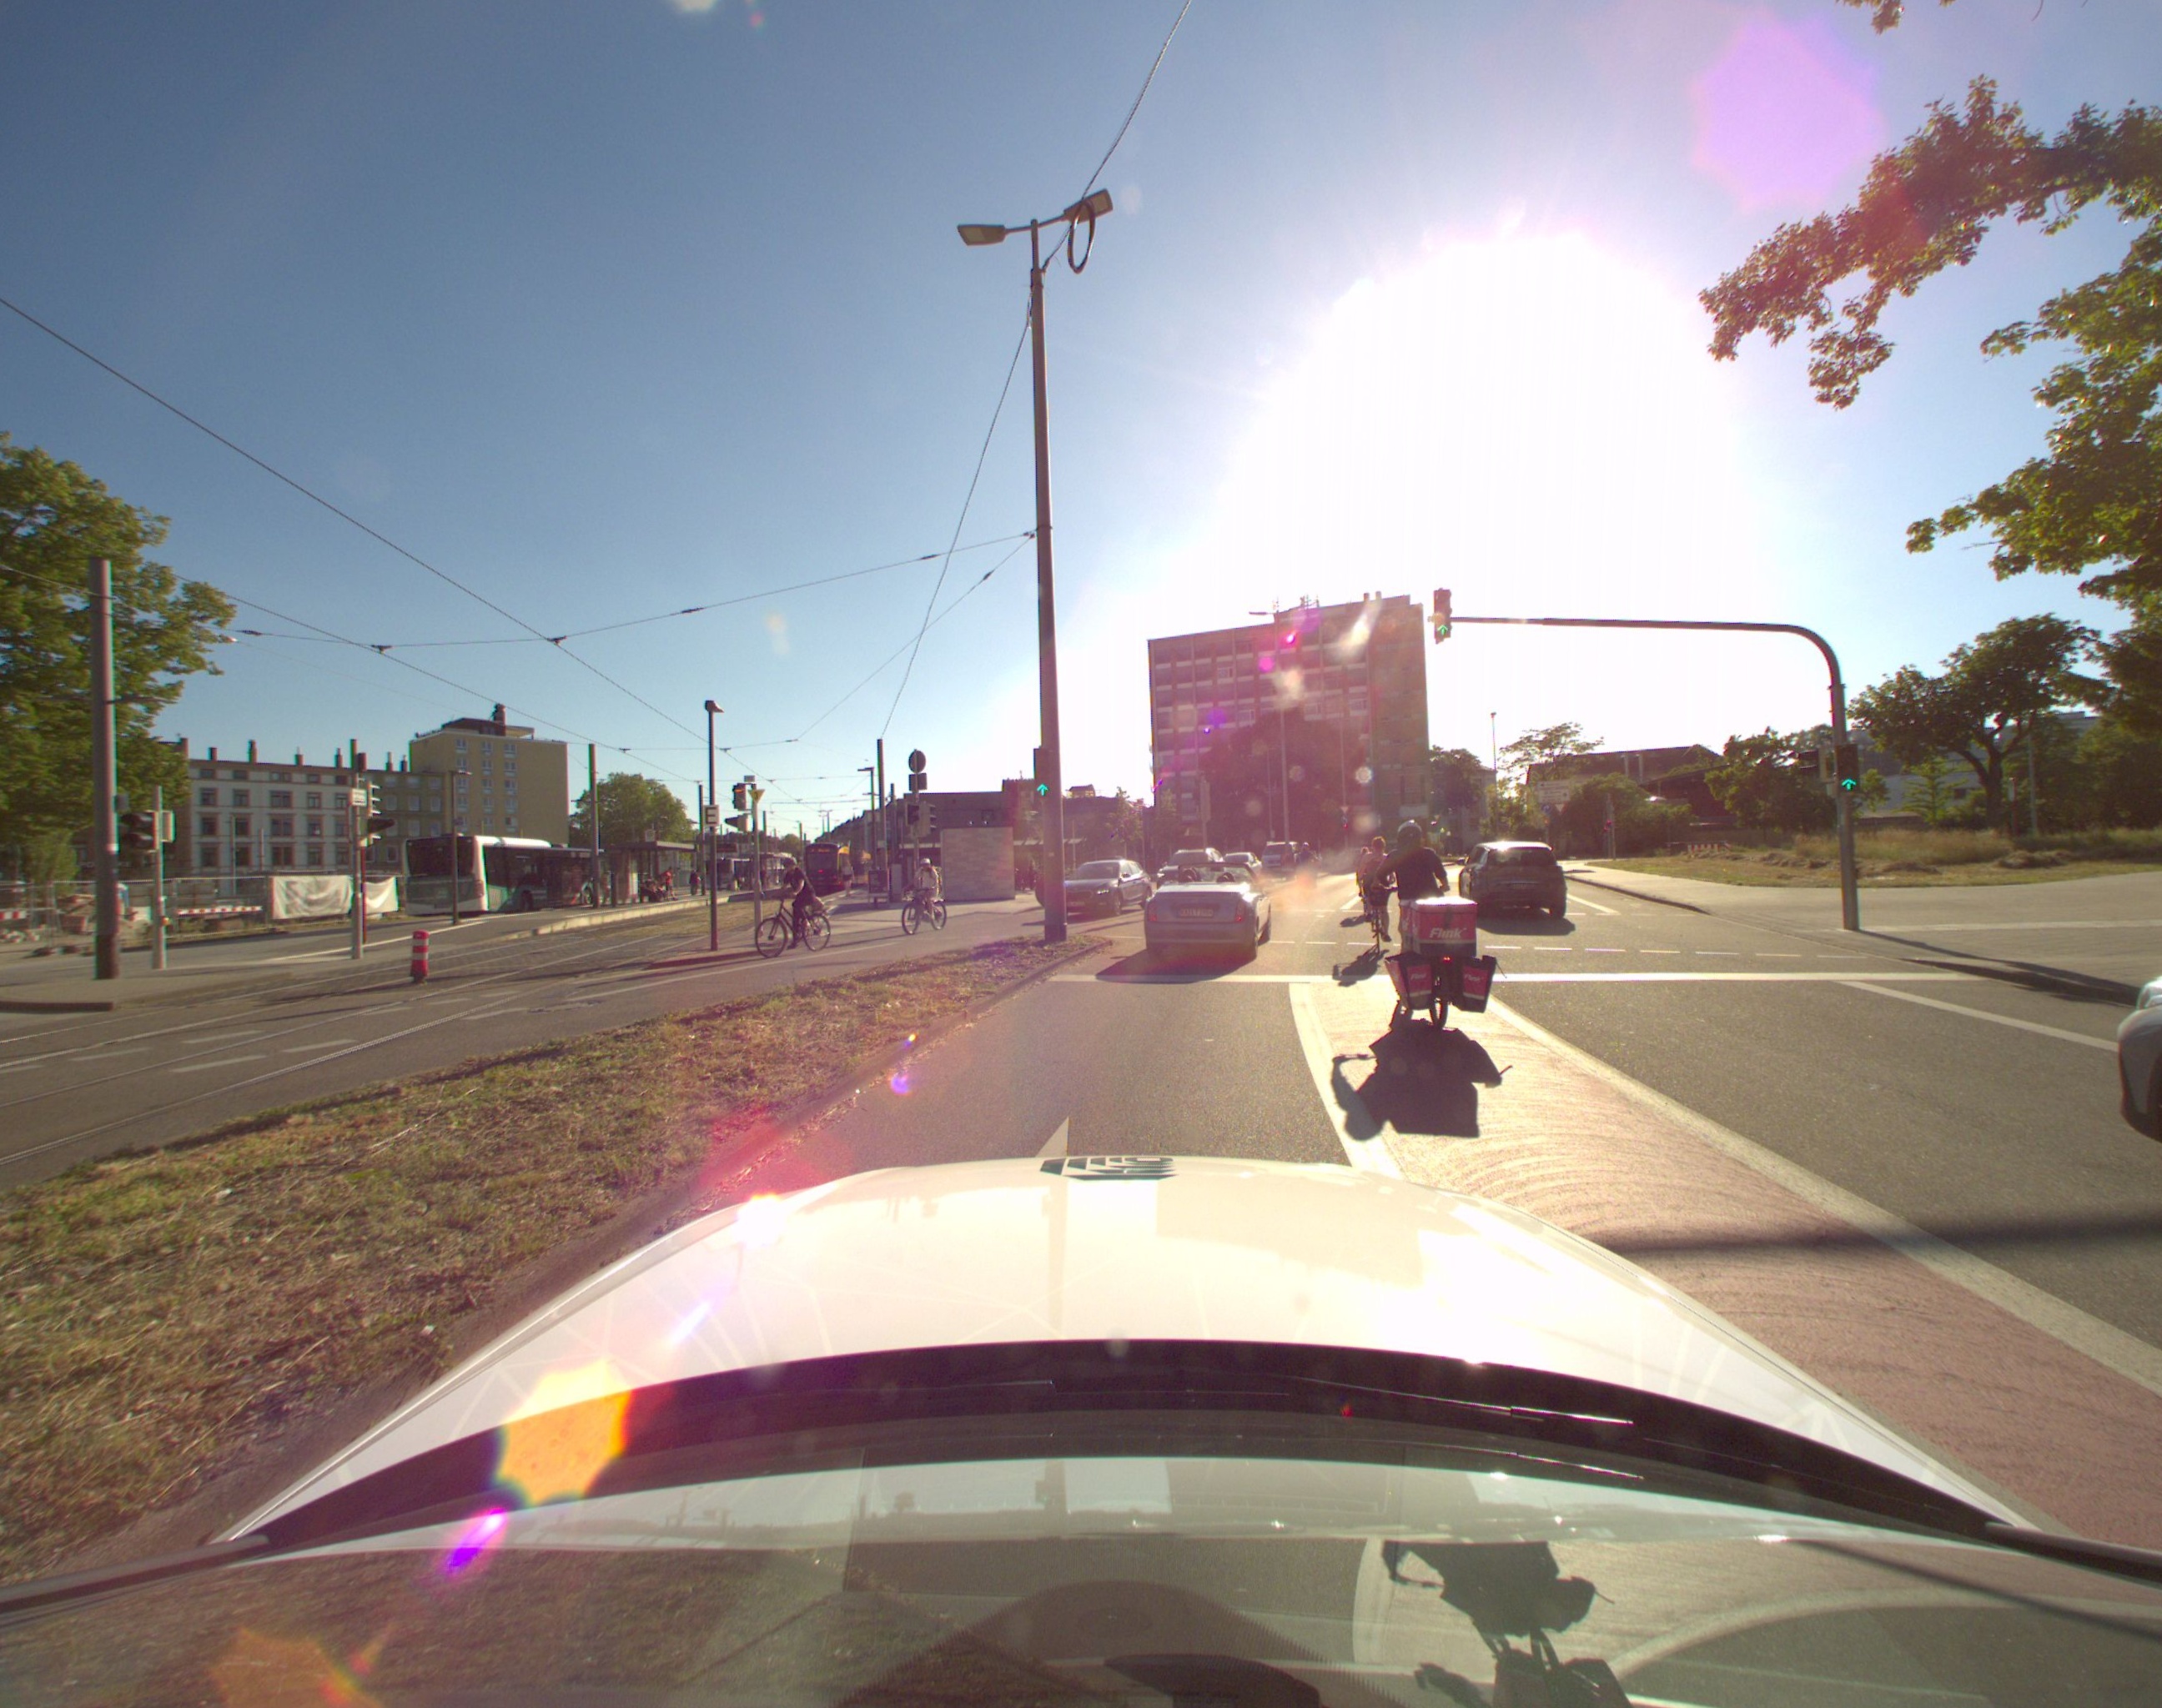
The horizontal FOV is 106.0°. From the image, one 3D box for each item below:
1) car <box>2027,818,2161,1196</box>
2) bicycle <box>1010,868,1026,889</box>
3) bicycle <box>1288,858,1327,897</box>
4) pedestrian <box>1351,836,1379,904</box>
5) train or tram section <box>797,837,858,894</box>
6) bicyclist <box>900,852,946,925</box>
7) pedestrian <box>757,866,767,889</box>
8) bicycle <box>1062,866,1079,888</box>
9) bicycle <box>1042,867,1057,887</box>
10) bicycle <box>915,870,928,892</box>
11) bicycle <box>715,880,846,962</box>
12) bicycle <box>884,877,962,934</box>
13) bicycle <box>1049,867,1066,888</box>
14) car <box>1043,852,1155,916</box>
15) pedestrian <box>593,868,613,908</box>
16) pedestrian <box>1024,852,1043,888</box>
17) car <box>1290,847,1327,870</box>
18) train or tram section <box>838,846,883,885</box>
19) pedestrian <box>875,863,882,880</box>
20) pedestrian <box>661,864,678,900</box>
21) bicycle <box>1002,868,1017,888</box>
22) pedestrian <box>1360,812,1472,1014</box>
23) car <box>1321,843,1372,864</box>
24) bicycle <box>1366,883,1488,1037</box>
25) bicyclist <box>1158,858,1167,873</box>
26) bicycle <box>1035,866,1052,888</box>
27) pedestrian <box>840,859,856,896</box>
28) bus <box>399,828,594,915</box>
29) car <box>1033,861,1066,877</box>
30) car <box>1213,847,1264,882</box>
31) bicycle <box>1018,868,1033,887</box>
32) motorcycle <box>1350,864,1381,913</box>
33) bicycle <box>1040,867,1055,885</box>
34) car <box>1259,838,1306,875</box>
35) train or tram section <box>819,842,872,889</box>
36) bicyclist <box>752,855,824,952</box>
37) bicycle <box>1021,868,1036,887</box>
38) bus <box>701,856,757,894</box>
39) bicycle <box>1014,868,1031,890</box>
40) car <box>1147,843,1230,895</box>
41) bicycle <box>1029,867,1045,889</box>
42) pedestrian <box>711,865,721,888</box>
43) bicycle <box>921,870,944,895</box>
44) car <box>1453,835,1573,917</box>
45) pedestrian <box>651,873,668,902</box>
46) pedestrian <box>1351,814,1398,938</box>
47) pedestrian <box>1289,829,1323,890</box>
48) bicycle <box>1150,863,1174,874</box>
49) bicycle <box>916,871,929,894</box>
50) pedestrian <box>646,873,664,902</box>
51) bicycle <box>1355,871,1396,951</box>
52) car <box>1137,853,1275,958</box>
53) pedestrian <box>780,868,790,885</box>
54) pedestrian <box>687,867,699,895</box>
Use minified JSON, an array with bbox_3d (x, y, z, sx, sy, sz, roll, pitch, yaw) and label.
[{"bbox_3d":[5.208,0.630,1.710,1.777,1.594,4.338,0,0,8],"label":"car"},{"bbox_3d":[-3.416,1.299,44.020,0.607,1.115,1.888,0,-1,-12],"label":"bicycle"},{"bbox_3d":[7.239,0.734,25.959,0.602,1.191,2.429,-1,-1,30],"label":"bicycle"},{"bbox_3d":[6.821,0.386,19.593,0.583,1.598,1.029,-1,-1,17],"label":"pedestrian"},{"bbox_3d":[-17.612,0.807,57.328,2.883,3.597,12.149,0,-1,-12],"label":"train or tram section"},{"bbox_3d":[-3.693,0.806,19.095,0.702,1.657,0.747,-3,-1,22],"label":"bicyclist"},{"bbox_3d":[-24.099,1.776,61.492,0.641,1.749,0.567,-2,-1,-27],"label":"pedestrian"},{"bbox_3d":[-0.543,1.191,42.425,0.606,1.115,1.890,0,-1,-9],"label":"bicycle"},{"bbox_3d":[-1.862,1.346,48.110,0.607,1.115,1.888,0,-1,-12],"label":"bicycle"},{"bbox_3d":[-8.365,1.423,42.748,0.607,1.115,1.890,0,-1,-11],"label":"bicycle"},{"bbox_3d":[-5.359,1.163,14.732,0.668,1.250,2.470,-5,-1,22],"label":"bicycle"},{"bbox_3d":[-3.669,1.174,19.113,0.668,1.180,2.195,-3,-1,22],"label":"bicycle"},{"bbox_3d":[-1.300,1.248,44.431,0.607,1.115,1.888,0,-1,-12],"label":"bicycle"},{"bbox_3d":[0.597,0.768,22.217,1.721,1.574,3.945,-1,-1,22],"label":"car"},{"bbox_3d":[-21.339,1.518,36.389,0.537,1.749,0.559,-2,-1,-6],"label":"pedestrian"},{"bbox_3d":[-2.545,0.849,43.214,0.901,1.869,0.684,0,-1,-13],"label":"pedestrian"},{"bbox_3d":[17.201,0.308,61.383,1.782,1.530,4.025,-4,-1,28],"label":"car"},{"bbox_3d":[-21.834,1.142,81.183,3.039,3.597,12.012,0,-1,-9],"label":"train or tram section"},{"bbox_3d":[-21.502,1.884,86.498,0.604,1.749,0.829,-2,-1,-8],"label":"pedestrian"},{"bbox_3d":[-20.881,1.420,41.328,0.571,1.749,0.636,-2,-1,-17],"label":"pedestrian"},{"bbox_3d":[-4.190,1.405,47.717,0.607,1.115,1.888,0,-1,-12],"label":"bicycle"},{"bbox_3d":[3.286,0.550,8.074,0.801,1.869,0.958,0,-1,8],"label":"pedestrian"},{"bbox_3d":[22.392,-0.008,68.636,4.012,1.530,1.788,-3,-1,-30],"label":"car"},{"bbox_3d":[3.188,0.889,7.724,0.551,1.171,2.379,0,-1,10],"label":"bicycle"},{"bbox_3d":[8.399,1.205,84.326,0.744,1.598,0.593,-1,-1,30],"label":"bicyclist"},{"bbox_3d":[-1.951,1.195,42.105,0.607,1.115,1.888,0,-1,-12],"label":"bicycle"},{"bbox_3d":[-11.216,1.130,39.197,0.640,1.749,0.568,-2,-1,-19],"label":"pedestrian"},{"bbox_3d":[-23.878,0.679,34.103,2.654,3.136,9.610,0,-1,-10],"label":"bus"},{"bbox_3d":[-3.328,1.552,85.296,1.653,1.560,3.558,-2,-1,-39],"label":"car"},{"bbox_3d":[7.702,0.494,39.610,1.680,1.560,4.001,-3,-1,21],"label":"car"},{"bbox_3d":[-3.405,1.408,49.853,0.607,1.115,1.888,0,-1,-12],"label":"bicycle"},{"bbox_3d":[6.860,0.798,19.695,0.608,1.097,2.370,-1,-1,17],"label":"motorcycle"},{"bbox_3d":[-2.096,1.350,50.078,0.607,1.115,1.888,0,-1,-12],"label":"bicycle"},{"bbox_3d":[11.813,0.157,47.570,1.892,1.945,4.731,-4,-1,21],"label":"car"},{"bbox_3d":[-19.859,0.982,69.286,3.012,3.597,12.156,0,-1,-10],"label":"train or tram section"},{"bbox_3d":[-5.334,0.885,14.856,0.702,1.657,0.906,-5,-2,22],"label":"bicyclist"},{"bbox_3d":[-3.090,1.368,47.890,0.607,1.115,1.888,0,-1,-12],"label":"bicycle"},{"bbox_3d":[-32.757,1.874,76.343,2.725,3.274,13.399,0,-1,-14],"label":"bus"},{"bbox_3d":[-3.021,1.259,41.948,0.607,1.115,1.888,0,-1,-12],"label":"bicycle"},{"bbox_3d":[4.064,0.519,30.188,1.746,1.706,4.555,-4,-1,24],"label":"car"},{"bbox_3d":[-2.385,1.281,44.029,0.607,1.115,1.888,0,-1,-12],"label":"bicycle"},{"bbox_3d":[-28.130,1.728,62.726,0.572,1.749,0.635,-2,-1,-19],"label":"pedestrian"},{"bbox_3d":[-7.141,1.361,39.235,0.604,1.115,1.900,0,-1,6],"label":"bicycle"},{"bbox_3d":[9.992,0.486,19.145,1.816,1.689,4.389,-1,-1,19],"label":"car"},{"bbox_3d":[-20.433,1.611,39.467,0.571,1.346,0.636,-2,-1,-17],"label":"pedestrian"},{"bbox_3d":[4.627,0.339,12.847,0.653,1.869,0.877,-1,-1,19],"label":"pedestrian"},{"bbox_3d":[7.163,0.181,25.873,0.825,1.869,0.926,-1,-1,30],"label":"pedestrian"},{"bbox_3d":[8.405,1.510,84.318,2.383,1.191,0.613,-1,-1,30],"label":"bicycle"},{"bbox_3d":[-7.946,1.396,40.829,0.607,1.115,1.888,0,-1,-12],"label":"bicycle"},{"bbox_3d":[-20.281,1.602,38.787,0.617,1.340,0.438,-2,-1,-17],"label":"pedestrian"},{"bbox_3d":[4.621,0.846,12.807,0.559,1.151,1.959,-1,-1,19],"label":"bicycle"},{"bbox_3d":[2.215,0.740,13.486,1.647,1.441,4.173,-1,-1,17],"label":"car"},{"bbox_3d":[-31.321,2.332,86.189,0.733,1.749,0.638,-2,-1,-8],"label":"pedestrian"},{"bbox_3d":[-24.910,1.729,52.254,0.641,1.749,0.567,-2,-1,-27],"label":"pedestrian"}]
